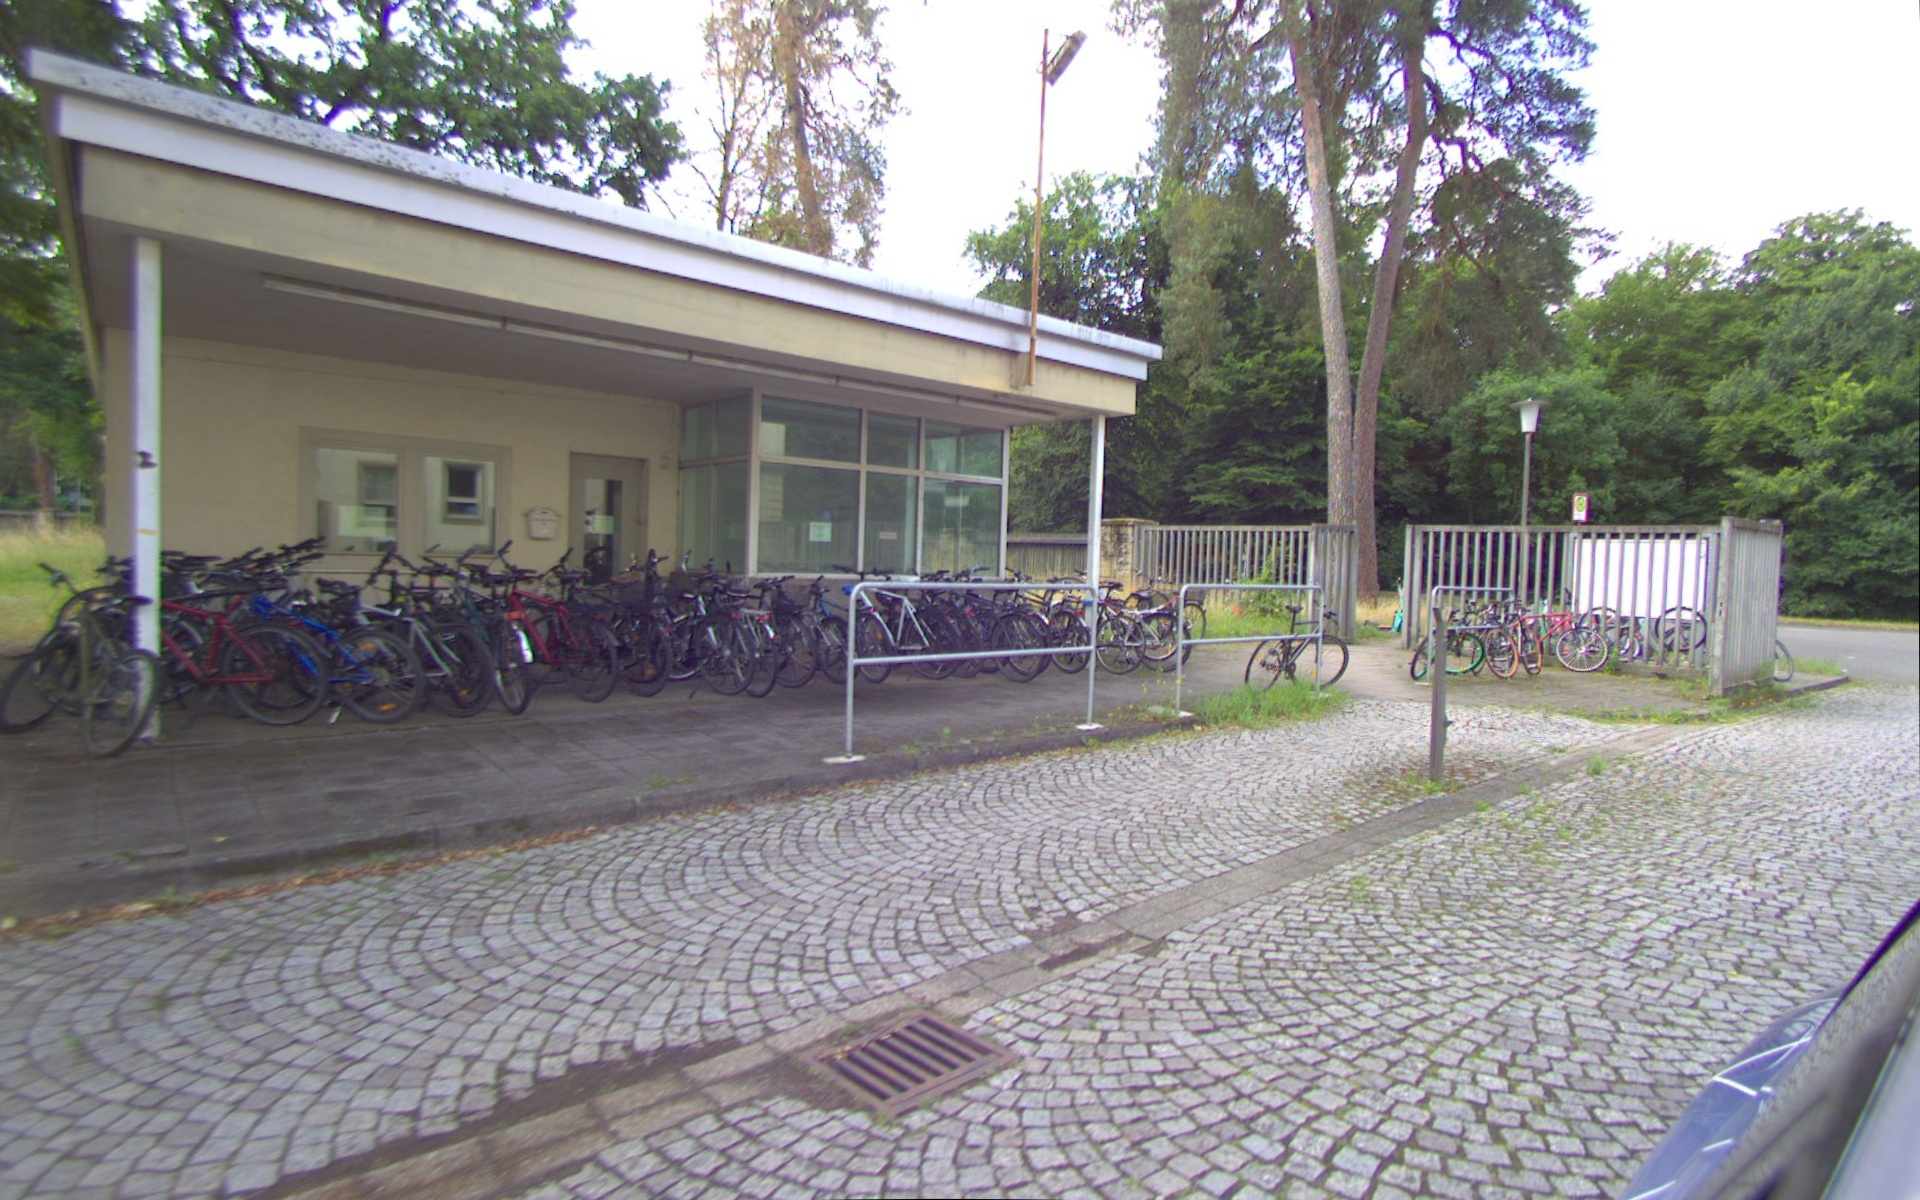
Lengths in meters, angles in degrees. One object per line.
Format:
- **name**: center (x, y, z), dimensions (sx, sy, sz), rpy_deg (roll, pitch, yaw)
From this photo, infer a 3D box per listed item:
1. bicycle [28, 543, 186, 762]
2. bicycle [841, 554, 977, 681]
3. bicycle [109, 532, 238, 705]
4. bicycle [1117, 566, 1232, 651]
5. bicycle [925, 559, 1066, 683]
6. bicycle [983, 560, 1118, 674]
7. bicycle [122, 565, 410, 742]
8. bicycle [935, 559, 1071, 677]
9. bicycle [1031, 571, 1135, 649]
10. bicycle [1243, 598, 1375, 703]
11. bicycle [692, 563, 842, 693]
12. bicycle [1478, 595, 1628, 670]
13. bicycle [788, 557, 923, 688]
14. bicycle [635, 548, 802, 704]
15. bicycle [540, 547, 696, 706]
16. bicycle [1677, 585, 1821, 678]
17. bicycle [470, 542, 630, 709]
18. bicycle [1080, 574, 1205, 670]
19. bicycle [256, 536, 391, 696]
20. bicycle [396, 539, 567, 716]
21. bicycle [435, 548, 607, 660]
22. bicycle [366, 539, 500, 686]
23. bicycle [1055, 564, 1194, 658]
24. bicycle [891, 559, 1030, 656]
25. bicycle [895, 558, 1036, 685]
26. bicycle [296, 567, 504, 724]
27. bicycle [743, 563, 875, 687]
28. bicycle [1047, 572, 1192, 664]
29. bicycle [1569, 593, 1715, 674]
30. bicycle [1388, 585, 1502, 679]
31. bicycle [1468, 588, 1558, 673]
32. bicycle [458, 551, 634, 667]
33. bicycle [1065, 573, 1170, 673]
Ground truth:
- **bicycle**: center (-5.216, 0.259, 6.154), dimensions (1.672, 1.121, 0.334), rpy_deg (6, 4, 36)
- **bicycle**: center (-0.560, 0.147, 10.566), dimensions (1.612, 1.154, 0.320), rpy_deg (6, 4, 42)
- **bicycle**: center (-6.328, 0.092, 8.108), dimensions (0.598, 1.179, 1.742), rpy_deg (0, 5, -45)
- **bicycle**: center (3.137, 0.108, 14.733), dimensions (1.648, 1.152, 0.649), rpy_deg (0, 3, -35)
- **bicycle**: center (0.345, 0.186, 10.763), dimensions (1.612, 1.154, 0.320), rpy_deg (6, 4, 42)
- **bicycle**: center (1.021, 0.165, 11.749), dimensions (1.612, 1.154, 0.350), rpy_deg (6, 4, 42)
- **bicycle**: center (-4.743, 0.315, 6.927), dimensions (1.724, 0.988, 0.754), rpy_deg (4, 3, 19)
- **bicycle**: center (0.452, 0.171, 11.299), dimensions (1.612, 1.154, 0.350), rpy_deg (6, 4, 42)
- **bicycle**: center (1.688, 0.137, 13.897), dimensions (1.328, 1.022, 0.407), rpy_deg (1, 2, -18)
- **bicycle**: center (3.638, 0.486, 10.490), dimensions (1.626, 0.964, 0.535), rpy_deg (-1, 4, -41)
- **bicycle**: center (-1.867, 0.232, 9.665), dimensions (1.625, 1.062, 0.330), rpy_deg (5, 4, 35)
- **bicycle**: center (9.006, 0.465, 15.420), dimensions (1.864, 0.950, 0.496), rpy_deg (6, 4, 44)
- **bicycle**: center (-1.077, 0.189, 10.154), dimensions (1.591, 1.154, 0.320), rpy_deg (6, 4, 42)
- **bicycle**: center (-2.186, 0.188, 9.063), dimensions (1.626, 1.204, 0.492), rpy_deg (6, 4, 37)
- **bicycle**: center (-3.000, 0.185, 8.797), dimensions (1.626, 1.204, 0.414), rpy_deg (6, 4, 37)
- **bicycle**: center (12.168, 0.453, 15.640), dimensions (1.649, 1.245, 0.738), rpy_deg (6, 4, 42)
- **bicycle**: center (-3.412, 0.164, 8.354), dimensions (1.626, 1.204, 0.414), rpy_deg (6, 4, 37)
- **bicycle**: center (2.162, 0.244, 12.016), dimensions (1.390, 1.058, 0.336), rpy_deg (3, 2, 23)
- **bicycle**: center (-5.489, 0.085, 8.682), dimensions (0.598, 1.179, 1.742), rpy_deg (0, 5, -45)
- **bicycle**: center (-3.786, 0.165, 7.956), dimensions (1.626, 1.204, 0.467), rpy_deg (6, 4, 36)
- **bicycle**: center (-4.670, 0.017, 10.870), dimensions (0.477, 1.088, 1.659), rpy_deg (5, 4, 37)
- **bicycle**: center (-4.935, 0.069, 9.424), dimensions (0.598, 1.179, 1.742), rpy_deg (0, 5, -45)
- **bicycle**: center (2.122, 0.134, 13.191), dimensions (1.710, 1.146, 0.474), rpy_deg (2, 2, 5)
- **bicycle**: center (0.035, 0.077, 12.418), dimensions (1.801, 1.088, 0.491), rpy_deg (0, 4, -43)
- **bicycle**: center (0.027, 0.188, 10.552), dimensions (1.612, 1.154, 0.320), rpy_deg (6, 4, 42)
- **bicycle**: center (-4.115, 0.302, 7.411), dimensions (1.614, 0.988, 0.320), rpy_deg (4, 3, 19)
- **bicycle**: center (-1.534, 0.212, 10.061), dimensions (1.591, 1.062, 0.320), rpy_deg (6, 4, 42)
- **bicycle**: center (1.977, 0.207, 12.633), dimensions (1.722, 1.058, 0.453), rpy_deg (2, 2, 10)
- **bicycle**: center (10.203, 0.474, 15.202), dimensions (0.380, 1.045, 1.730), rpy_deg (0, 4, -39)
- **bicycle**: center (6.029, 0.366, 12.560), dimensions (1.538, 1.075, 0.691), rpy_deg (0, 3, -41)
- **bicycle**: center (7.506, 0.383, 13.697), dimensions (1.702, 1.070, 0.474), rpy_deg (0, 3, -41)
- **bicycle**: center (-4.249, 0.064, 10.484), dimensions (0.477, 1.088, 1.659), rpy_deg (5, 4, 37)
- **bicycle**: center (1.810, 0.247, 11.693), dimensions (1.143, 1.076, 0.284), rpy_deg (3, 2, 28)
